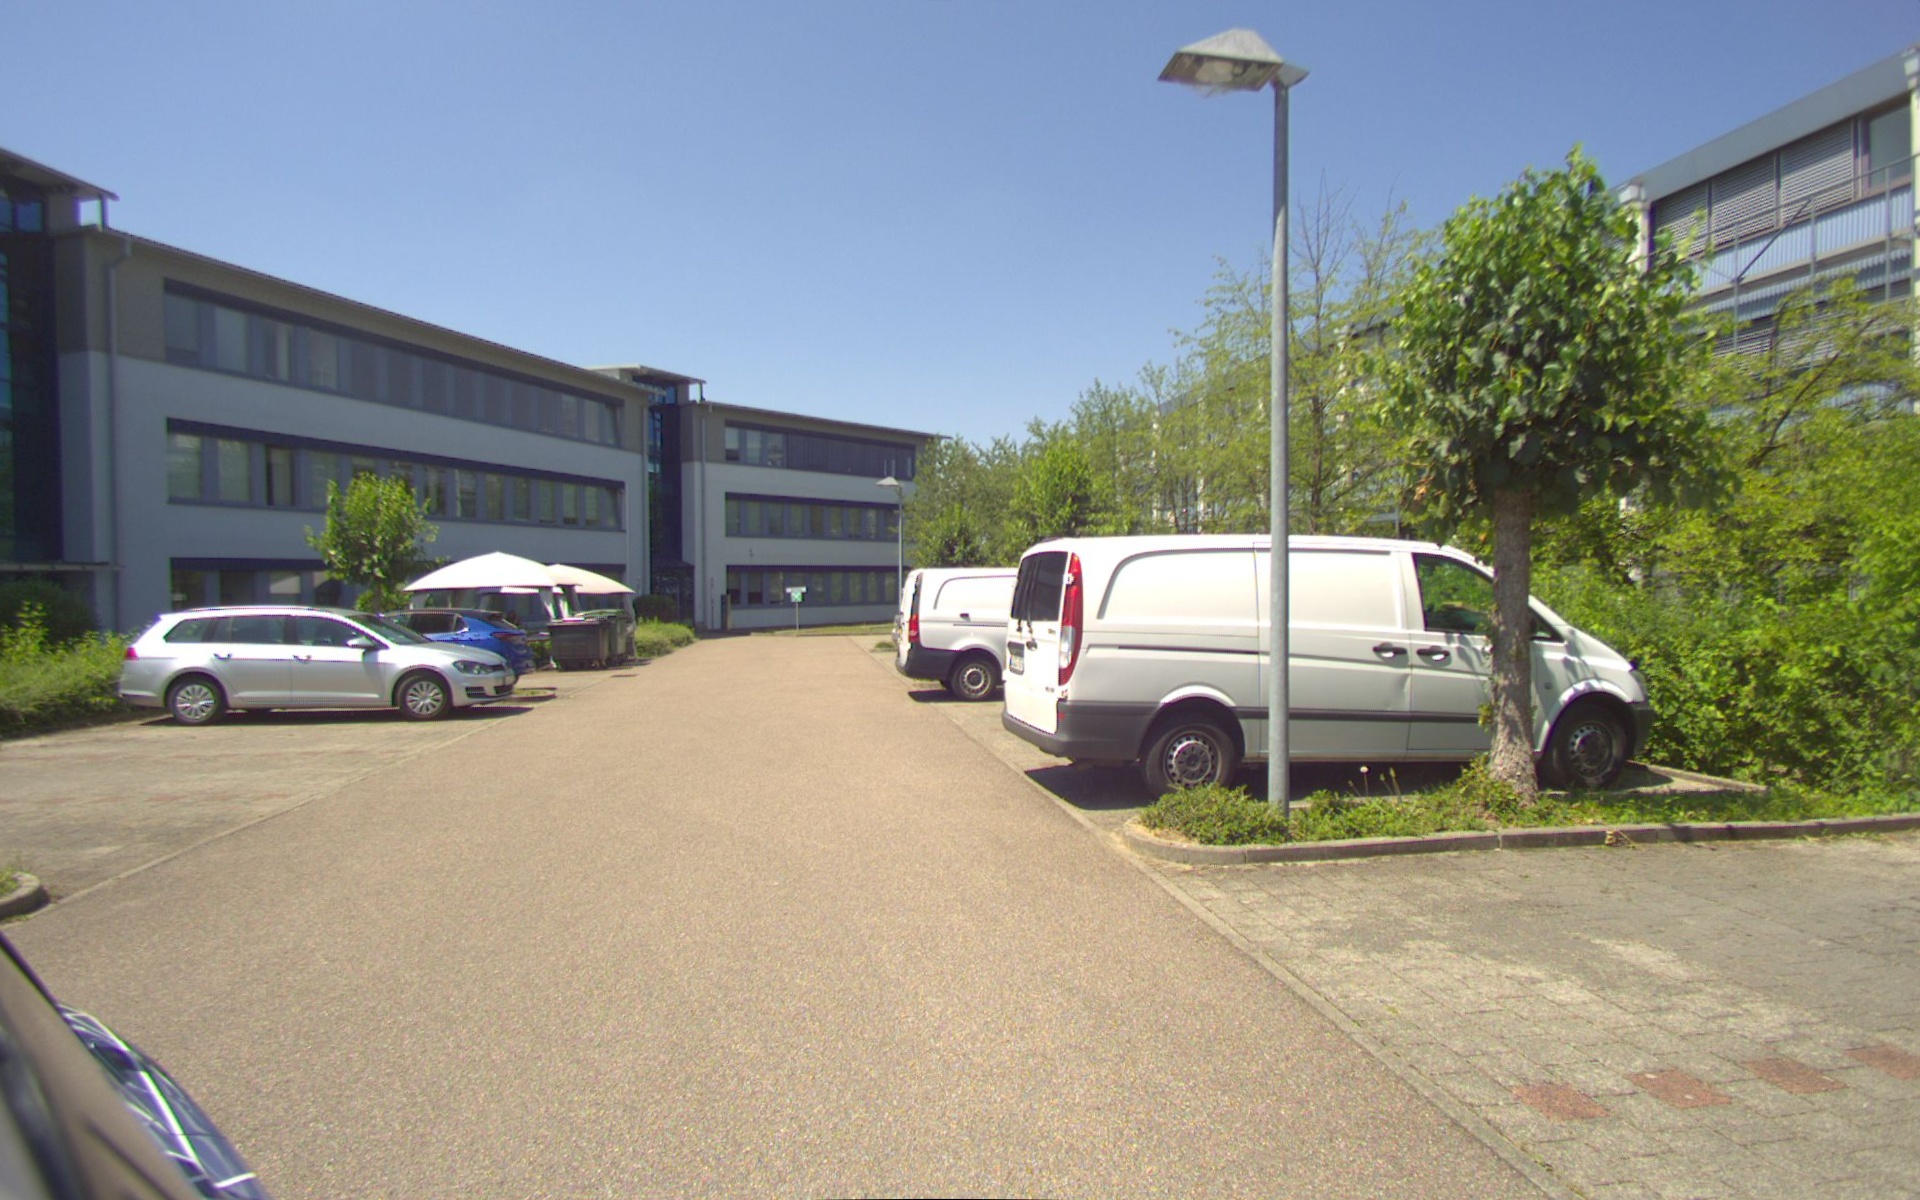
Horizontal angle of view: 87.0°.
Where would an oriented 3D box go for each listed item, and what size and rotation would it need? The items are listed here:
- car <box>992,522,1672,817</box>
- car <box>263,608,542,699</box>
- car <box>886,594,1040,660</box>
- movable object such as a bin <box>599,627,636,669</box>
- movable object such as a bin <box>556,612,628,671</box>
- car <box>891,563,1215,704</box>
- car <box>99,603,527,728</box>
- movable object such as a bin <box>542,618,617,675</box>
[{"bbox_3d":[2.743,0.421,7.911,4.658,1.920,1.833,-1,0,-10],"label":"car"},{"bbox_3d":[-9.191,0.862,16.979,3.765,1.402,1.655,1,0,-10],"label":"car"},{"bbox_3d":[0.044,0.671,26.107,3.704,1.569,1.664,-1,0,-10],"label":"car"},{"bbox_3d":[-8.297,1.160,24.555,0.681,0.956,0.723,-1,0,-4],"label":"movable object such as a bin"},{"bbox_3d":[-8.553,0.961,23.598,1.344,1.306,1.044,-1,0,-4],"label":"movable object such as a bin"},{"bbox_3d":[1.306,0.445,15.122,4.447,1.896,1.833,-1,0,-10],"label":"car"},{"bbox_3d":[-8.346,0.801,13.482,4.447,1.508,1.833,0,0,-10],"label":"car"},{"bbox_3d":[-8.456,1.026,22.544,1.344,1.198,0.998,-1,0,-4],"label":"movable object such as a bin"}]
